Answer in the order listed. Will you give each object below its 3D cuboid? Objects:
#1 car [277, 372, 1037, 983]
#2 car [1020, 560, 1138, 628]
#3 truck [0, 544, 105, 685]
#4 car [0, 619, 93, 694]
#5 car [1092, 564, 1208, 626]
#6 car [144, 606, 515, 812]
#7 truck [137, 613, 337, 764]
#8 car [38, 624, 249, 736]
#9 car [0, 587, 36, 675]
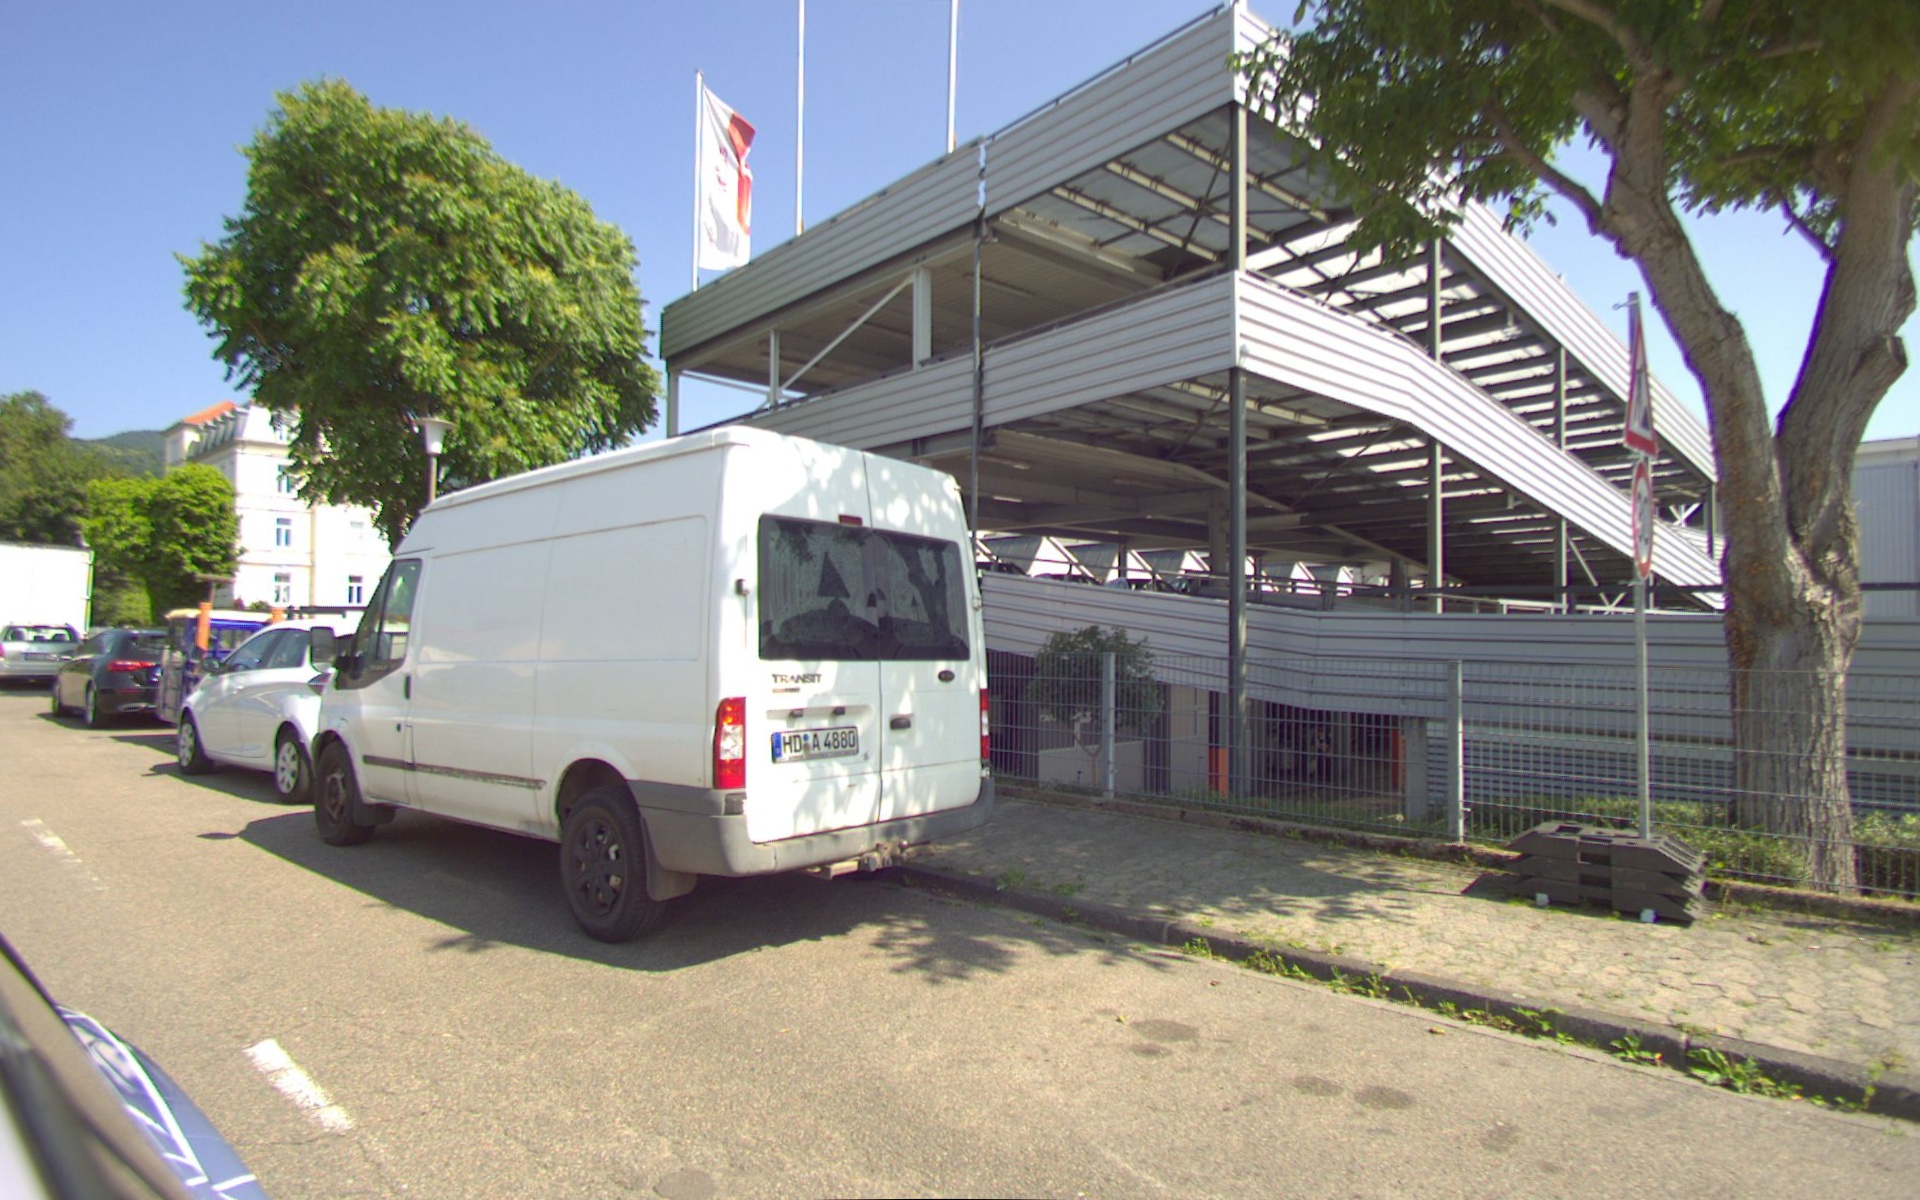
[{"bbox_3d":[-2.232,0.386,6.406,5.224,2.384,1.985,-1,-4,40],"label":"car"},{"bbox_3d":[3.147,-0.163,27.560,1.787,1.684,4.012,1,0,-15],"label":"car"},{"bbox_3d":[-25.480,0.378,27.176,7.125,3.392,2.657,0,-2,41],"label":"truck"},{"bbox_3d":[-20.891,1.223,22.708,4.311,1.533,1.722,-1,-4,44],"label":"car"},{"bbox_3d":[5.548,-0.146,30.081,1.787,1.684,4.012,1,0,-15],"label":"car"},{"bbox_3d":[-6.272,0.941,9.927,3.966,1.636,1.689,-1,-5,37],"label":"car"},{"bbox_3d":[-8.905,1.016,12.398,3.138,1.634,1.127,-1,-4,39],"label":"truck"},{"bbox_3d":[-12.539,1.139,15.457,4.110,1.474,1.687,-1,-4,40],"label":"car"},{"bbox_3d":[-31.358,0.899,32.144,6.918,2.615,2.145,0,-3,42],"label":"car"}]
